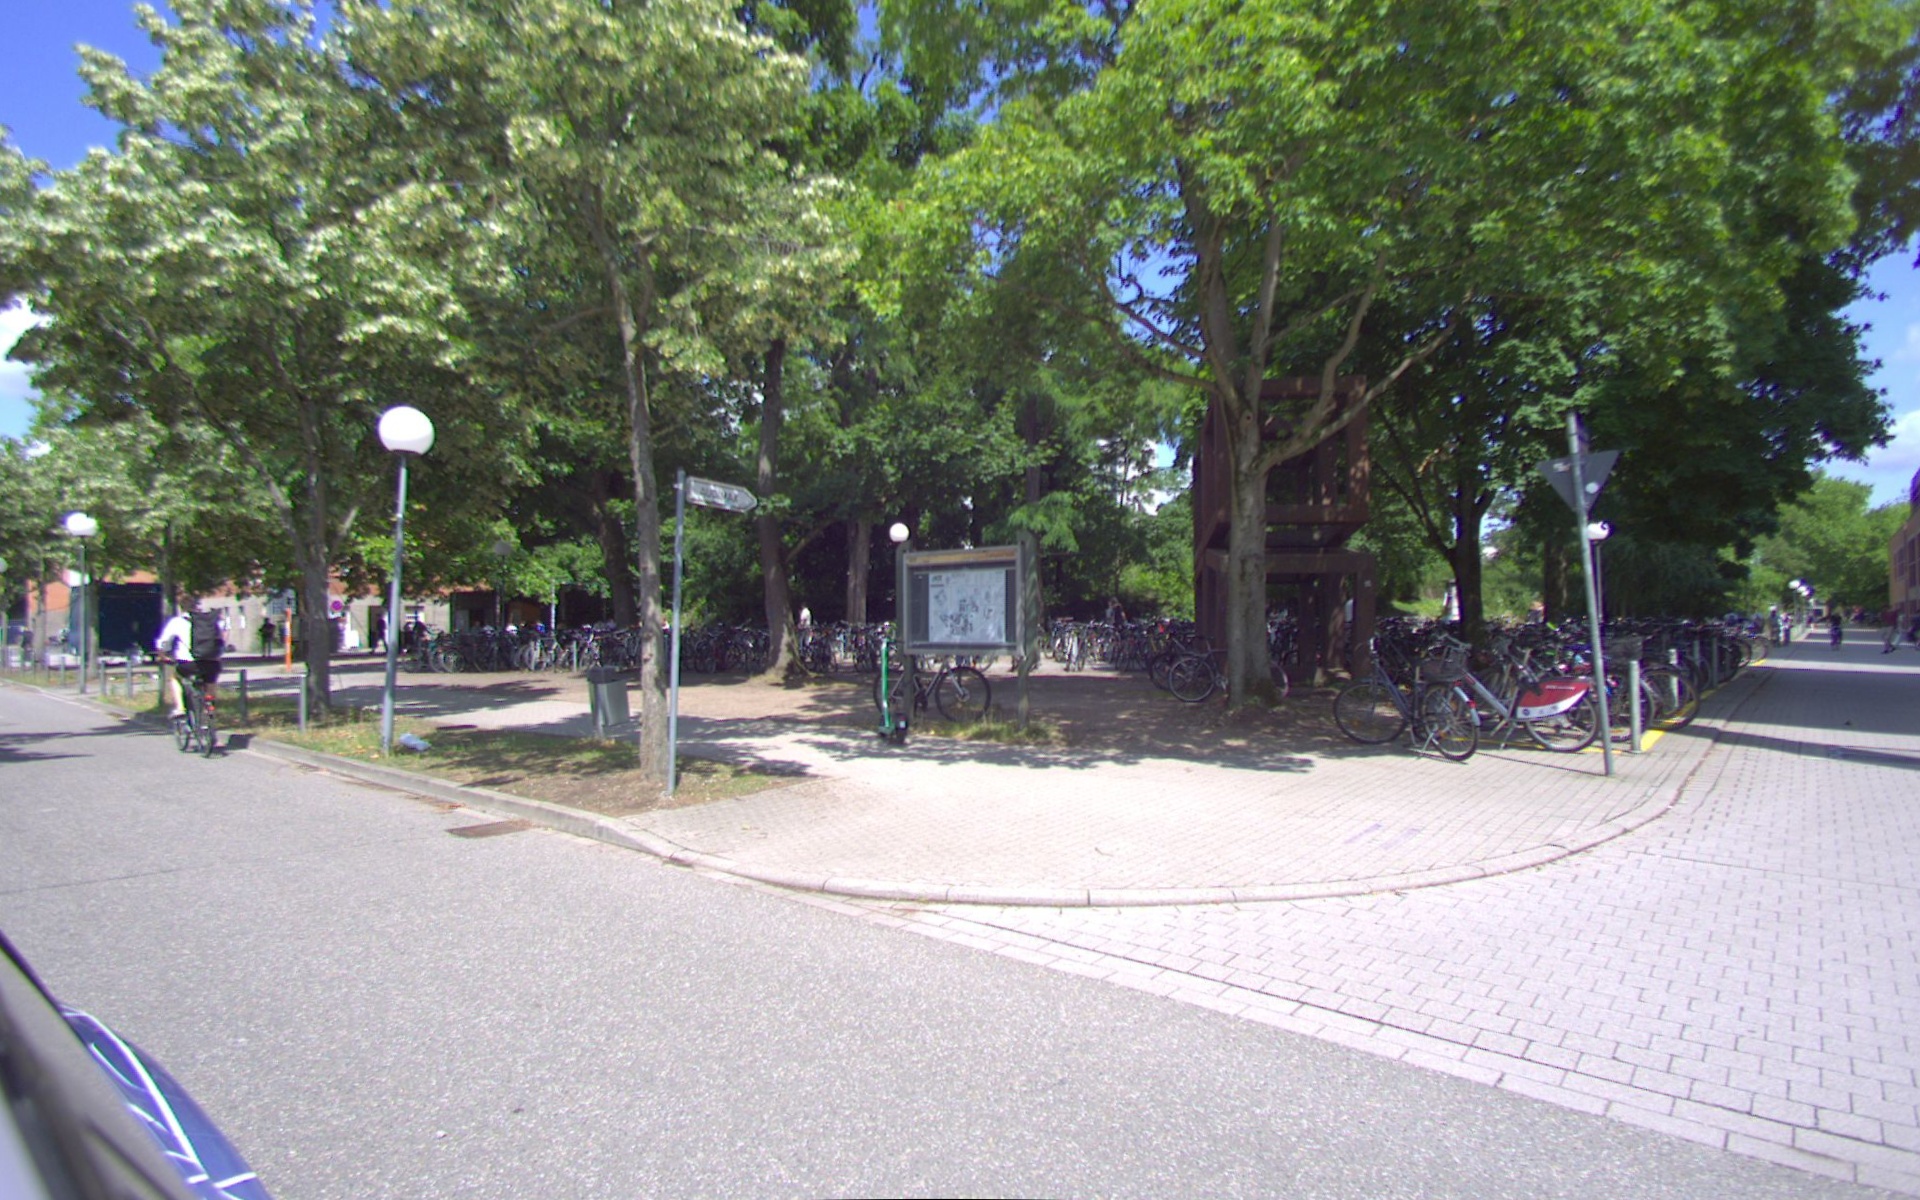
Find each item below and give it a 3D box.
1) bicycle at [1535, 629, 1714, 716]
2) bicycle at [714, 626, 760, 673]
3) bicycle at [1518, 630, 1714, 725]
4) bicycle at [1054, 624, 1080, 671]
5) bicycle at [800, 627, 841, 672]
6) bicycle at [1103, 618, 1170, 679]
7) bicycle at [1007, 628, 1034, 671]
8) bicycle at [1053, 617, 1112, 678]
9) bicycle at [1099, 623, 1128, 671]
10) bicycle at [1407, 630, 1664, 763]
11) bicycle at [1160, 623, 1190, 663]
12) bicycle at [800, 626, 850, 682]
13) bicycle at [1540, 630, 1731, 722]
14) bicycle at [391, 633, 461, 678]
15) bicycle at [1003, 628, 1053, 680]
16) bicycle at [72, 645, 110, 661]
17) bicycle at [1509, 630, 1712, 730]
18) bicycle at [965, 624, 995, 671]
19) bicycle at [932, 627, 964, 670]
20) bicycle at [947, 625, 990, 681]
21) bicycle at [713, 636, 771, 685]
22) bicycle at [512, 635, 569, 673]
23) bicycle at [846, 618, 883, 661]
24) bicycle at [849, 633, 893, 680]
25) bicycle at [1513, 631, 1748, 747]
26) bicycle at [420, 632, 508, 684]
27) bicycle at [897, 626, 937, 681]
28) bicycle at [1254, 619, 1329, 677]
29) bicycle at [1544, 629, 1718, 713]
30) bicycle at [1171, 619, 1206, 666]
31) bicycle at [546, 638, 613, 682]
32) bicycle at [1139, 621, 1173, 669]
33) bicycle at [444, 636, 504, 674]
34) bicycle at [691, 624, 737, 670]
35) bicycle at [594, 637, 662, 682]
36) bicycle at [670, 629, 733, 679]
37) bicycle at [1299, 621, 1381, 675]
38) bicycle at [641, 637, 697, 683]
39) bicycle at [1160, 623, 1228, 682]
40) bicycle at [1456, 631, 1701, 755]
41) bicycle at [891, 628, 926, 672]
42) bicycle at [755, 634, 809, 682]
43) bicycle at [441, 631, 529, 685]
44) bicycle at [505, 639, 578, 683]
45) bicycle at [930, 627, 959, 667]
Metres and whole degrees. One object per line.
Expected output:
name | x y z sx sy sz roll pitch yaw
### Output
bicycle | 9.050 0.968 13.841 1.972 1.095 0.546 -2 -1 41
bicycle | -6.371 1.391 29.008 0.632 1.244 2.057 -2 -1 6
bicycle | 8.158 0.938 12.653 1.972 1.095 0.546 -2 -1 41
bicycle | 2.890 1.261 27.465 0.632 1.141 2.057 -2 0 6
bicycle | -3.894 1.368 28.386 0.632 1.167 2.057 -2 -1 6
bicycle | 4.050 1.082 23.513 0.870 1.306 3.084 -1 -1 -2
bicycle | 1.713 1.358 28.309 0.632 1.141 2.057 -2 -1 6
bicycle | 2.776 1.064 23.301 0.870 1.296 2.934 -1 -1 -2
bicycle | 4.149 1.258 27.488 0.632 1.141 2.057 -2 1 6
bicycle | 5.287 0.849 9.396 1.972 1.095 0.546 -2 -1 41
bicycle | 6.461 1.277 30.456 0.632 1.141 2.057 -1 -1 6
bicycle | -3.222 1.267 24.425 0.870 1.230 2.909 -1 -1 -2
bicycle | 8.674 0.952 13.060 1.972 1.095 0.546 -2 -1 41
bicycle | -14.400 1.485 27.332 0.456 1.140 1.765 -2 -1 23
bicycle | 1.530 1.214 23.385 0.870 1.084 2.684 -1 -1 -2
bicycle | -63.062 3.833 73.472 0.663 1.069 2.001 -2 -2 39
bicycle | 7.787 0.926 12.178 1.972 1.095 0.546 -2 -1 41
bicycle | 0.567 1.296 27.962 0.632 1.141 2.057 -2 1 6
bicycle | -0.325 1.327 28.028 0.632 1.141 2.057 -2 -2 6
bicycle | 0.170 1.206 23.742 0.870 1.188 2.709 -1 -1 -2
bicycle | -5.220 1.418 24.420 0.870 1.058 2.834 -1 -1 -2
bicycle | -12.952 1.654 31.306 0.543 1.097 1.849 -2 -1 19
bicycle | -2.651 1.083 28.265 0.632 1.141 2.057 -2 -1 6
bicycle | -2.106 1.319 24.215 0.870 1.010 2.734 -1 -1 -2
bicycle | 6.986 0.893 10.623 1.972 1.095 0.546 -2 -1 41
bicycle | -12.980 1.504 26.547 0.804 1.244 2.044 -2 -1 23
bicycle | -1.015 1.241 24.141 0.870 1.187 2.884 -1 -1 -2
bicycle | 7.706 1.100 23.693 0.732 1.242 2.838 -1 -2 -2
bicycle | 9.492 0.982 14.376 1.972 1.095 0.546 -2 -1 41
bicycle | 6.254 1.155 27.763 0.632 1.141 2.057 -2 1 6
bicycle | -9.537 1.483 25.429 0.671 1.016 1.885 -2 -1 11
bicycle | 5.344 1.211 27.655 0.666 1.141 2.057 -2 1 6
bicycle | -15.167 1.696 31.644 0.543 1.097 1.849 -2 -1 19
bicycle | -7.054 1.337 29.133 0.632 1.244 2.057 -2 -1 6
bicycle | -8.334 1.478 25.497 0.670 1.016 2.147 -2 -1 10
bicycle | -6.239 1.274 24.593 0.870 1.094 2.752 -1 -1 -2
bicycle | 8.878 1.078 23.797 0.732 1.165 2.912 -1 -1 -2
bicycle | -7.120 1.443 24.857 0.668 1.016 2.652 -1 -1 -2
bicycle | 5.226 1.144 22.843 0.732 1.134 2.962 -1 1 -2
bicycle | 6.045 0.869 9.983 1.972 1.095 0.546 -2 -1 41
bicycle | -1.419 1.372 28.153 0.632 1.141 2.057 -2 -2 6
bicycle | -4.241 1.363 24.269 0.870 1.022 2.784 -1 -1 -2
bicycle | -12.238 1.482 26.143 0.804 1.244 2.044 -2 0 23
bicycle | -10.704 1.540 25.968 0.671 1.016 2.146 -2 -1 11
bicycle | -0.458 1.398 30.686 0.632 1.141 2.057 -2 -1 6
